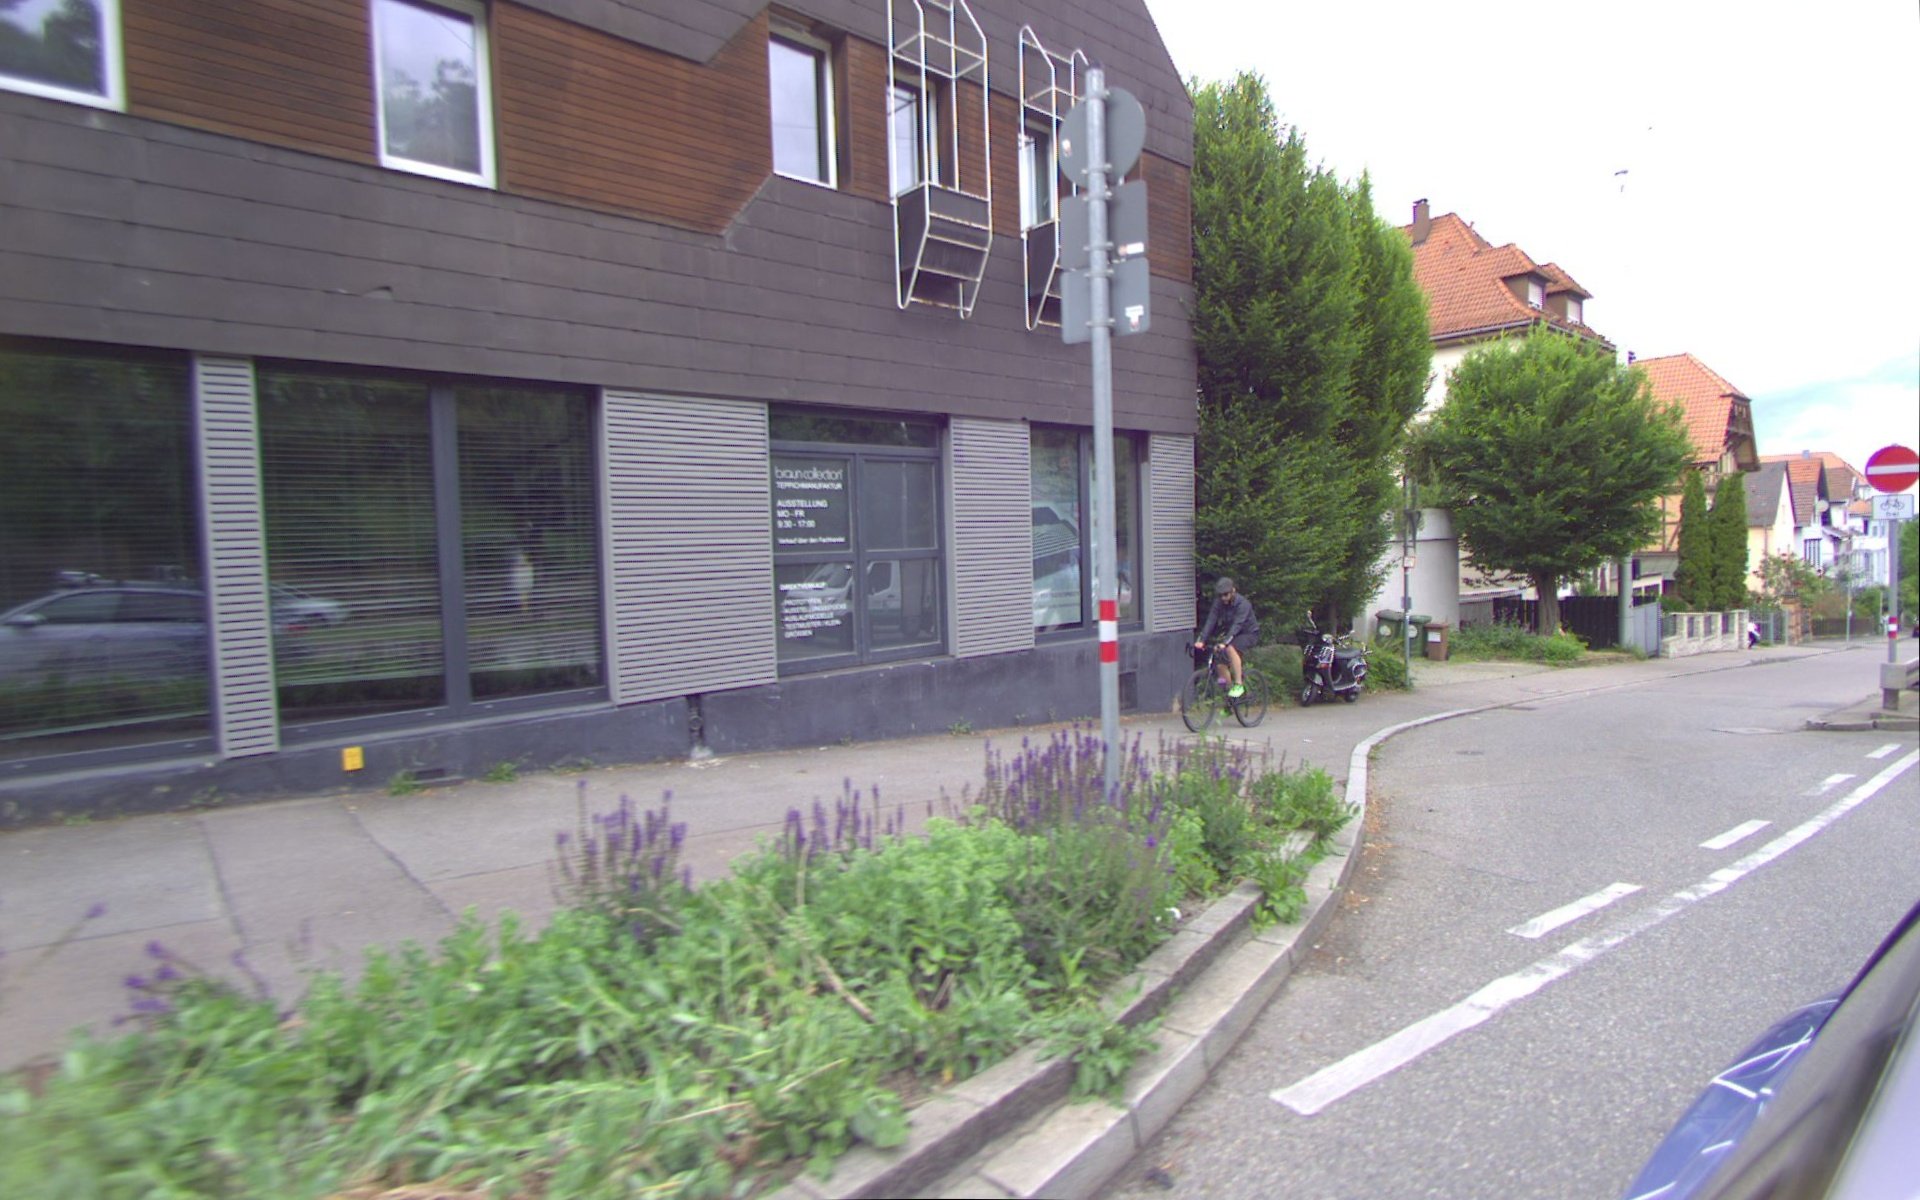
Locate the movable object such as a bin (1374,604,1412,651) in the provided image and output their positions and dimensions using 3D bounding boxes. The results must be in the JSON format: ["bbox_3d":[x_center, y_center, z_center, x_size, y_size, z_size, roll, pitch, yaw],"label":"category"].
[{"bbox_3d":[10.853,0.680,25.374,0.644,1.092,0.543,1,6,-41],"label":"movable object such as a bin"}]

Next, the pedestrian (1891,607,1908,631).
[{"bbox_3d":[59.372,1.211,63.930,0.683,1.490,0.712,1,-1,-42],"label":"pedestrian"}]

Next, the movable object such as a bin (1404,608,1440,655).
[{"bbox_3d":[11.402,0.769,24.981,0.551,1.067,0.543,1,6,-41],"label":"movable object such as a bin"}]

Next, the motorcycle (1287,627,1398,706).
[{"bbox_3d":[5.823,0.972,15.354,1.932,1.064,0.697,0,1,-40],"label":"motorcycle"}]

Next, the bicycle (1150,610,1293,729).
[{"bbox_3d":[3.102,0.804,11.895,2.003,1.278,0.572,4,-1,-42],"label":"bicycle"}]

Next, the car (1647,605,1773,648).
[{"bbox_3d":[29.589,1.054,40.059,3.766,1.423,1.529,-5,-4,31],"label":"car"}]

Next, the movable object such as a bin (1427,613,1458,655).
[{"bbox_3d":[11.753,0.818,24.652,0.551,0.951,0.453,1,4,-41],"label":"movable object such as a bin"}]

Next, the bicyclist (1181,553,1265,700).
[{"bbox_3d":[3.099,0.300,11.917,0.931,1.654,0.538,1,-1,-41],"label":"bicyclist"}]
